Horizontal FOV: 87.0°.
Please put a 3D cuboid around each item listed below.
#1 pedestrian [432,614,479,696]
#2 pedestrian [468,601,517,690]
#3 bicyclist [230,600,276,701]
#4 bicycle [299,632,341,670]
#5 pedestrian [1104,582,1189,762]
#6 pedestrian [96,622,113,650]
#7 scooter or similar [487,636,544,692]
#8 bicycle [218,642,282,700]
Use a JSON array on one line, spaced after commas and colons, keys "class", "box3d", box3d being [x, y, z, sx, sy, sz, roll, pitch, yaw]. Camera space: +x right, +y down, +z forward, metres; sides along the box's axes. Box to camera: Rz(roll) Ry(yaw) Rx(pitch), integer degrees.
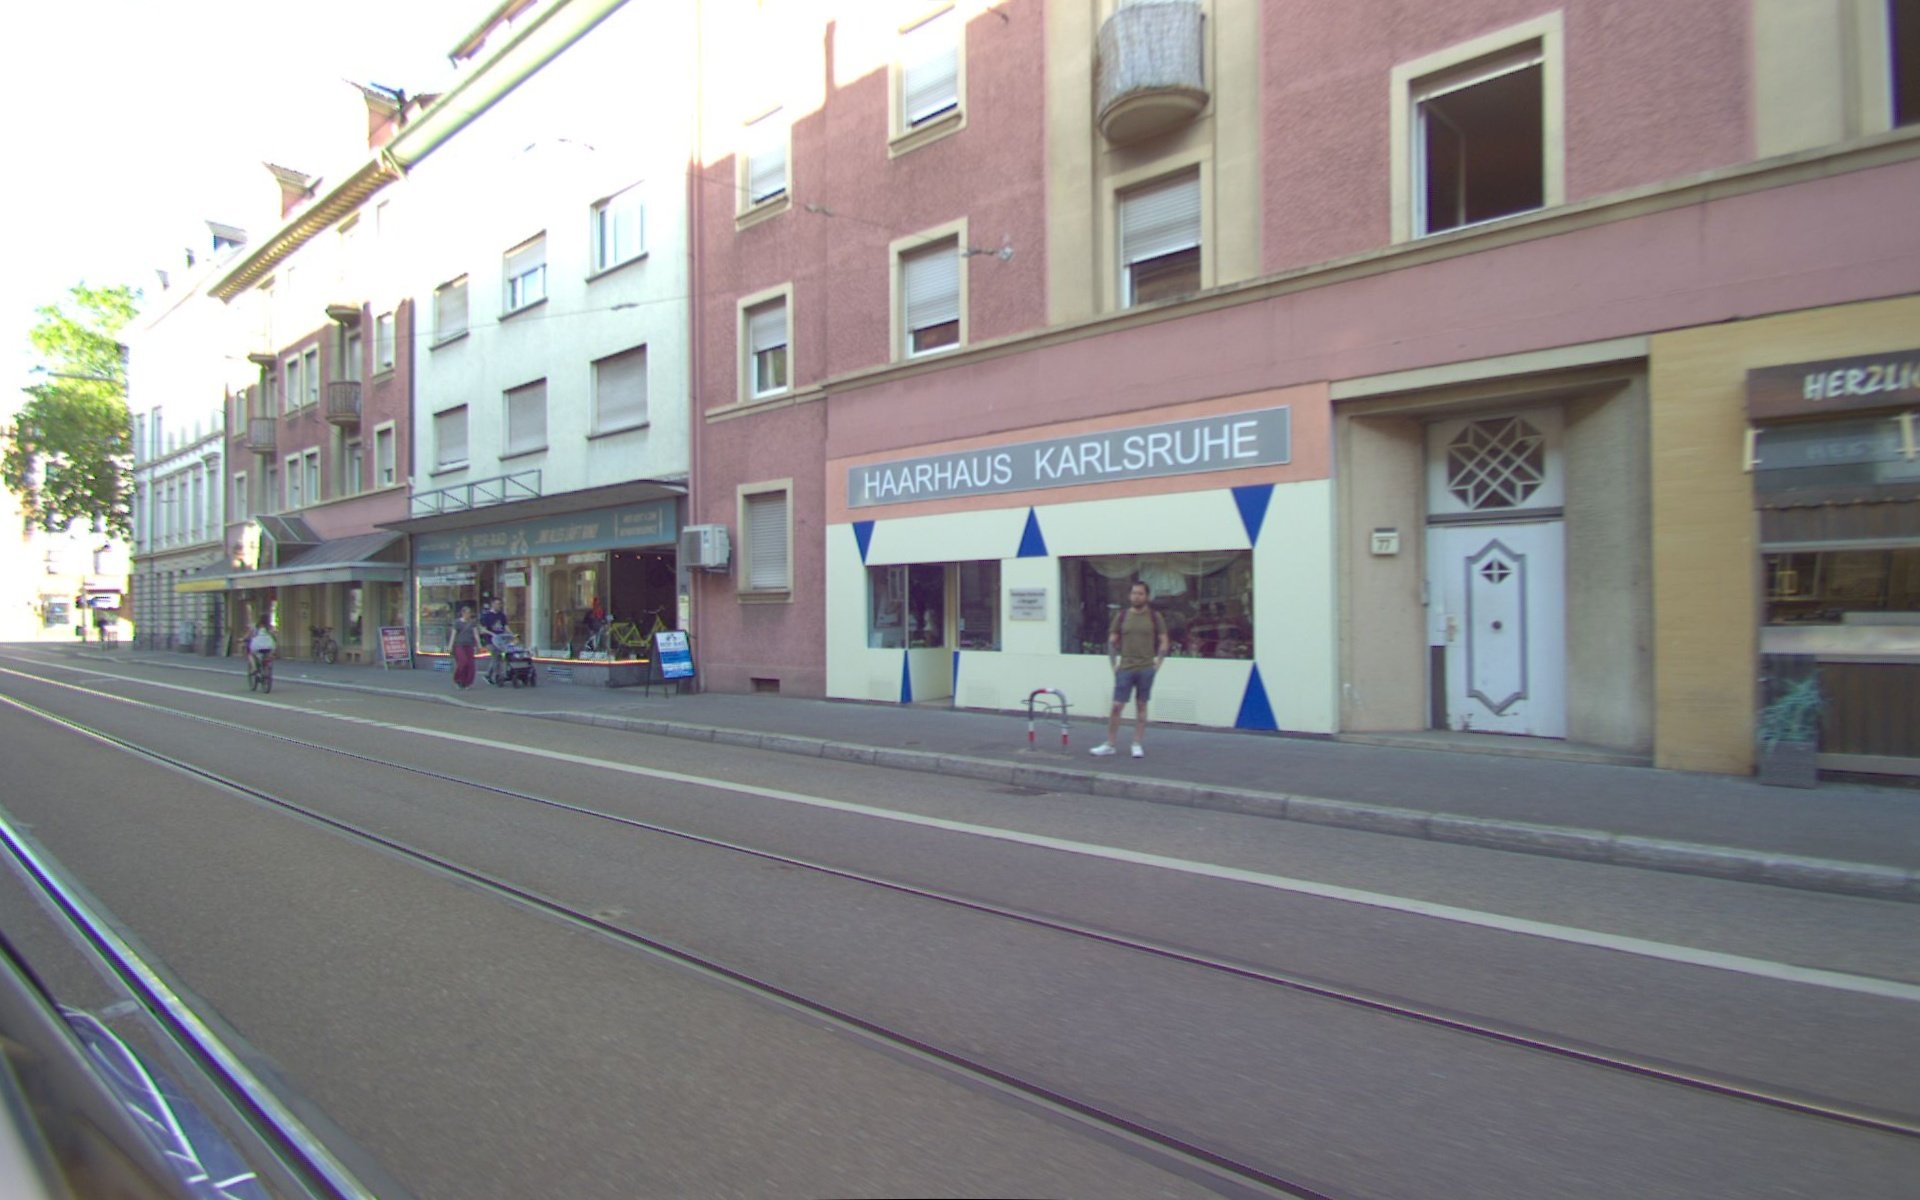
[{"class": "pedestrian", "box3d": [-9.907, 1.065, 19.868, 0.623, 1.560, 0.629, -1, 0, 41]}, {"class": "pedestrian", "box3d": [-9.711, 0.919, 21.020, 0.820, 1.803, 0.619, -1, 0, 41]}, {"class": "bicyclist", "box3d": [-14.491, 1.012, 20.736, 0.733, 2.029, 0.605, -1, 0, 41]}, {"class": "bicycle", "box3d": [-19.277, 1.507, 30.462, 2.328, 1.068, 0.420, -1, 0, 41]}, {"class": "pedestrian", "box3d": [1.843, 0.681, 9.992, 0.616, 1.698, 0.557, -1, 0, 40]}, {"class": "pedestrian", "box3d": [-58.777, 2.478, 69.520, 0.809, 1.861, 0.784, -1, 0, 44]}, {"class": "scooter or similar", "box3d": [-8.951, 1.265, 20.376, 1.104, 1.069, 0.655, -2, -1, 42]}, {"class": "bicycle", "box3d": [-14.645, 1.433, 20.858, 2.043, 1.104, 0.595, -1, -3, 42]}]
